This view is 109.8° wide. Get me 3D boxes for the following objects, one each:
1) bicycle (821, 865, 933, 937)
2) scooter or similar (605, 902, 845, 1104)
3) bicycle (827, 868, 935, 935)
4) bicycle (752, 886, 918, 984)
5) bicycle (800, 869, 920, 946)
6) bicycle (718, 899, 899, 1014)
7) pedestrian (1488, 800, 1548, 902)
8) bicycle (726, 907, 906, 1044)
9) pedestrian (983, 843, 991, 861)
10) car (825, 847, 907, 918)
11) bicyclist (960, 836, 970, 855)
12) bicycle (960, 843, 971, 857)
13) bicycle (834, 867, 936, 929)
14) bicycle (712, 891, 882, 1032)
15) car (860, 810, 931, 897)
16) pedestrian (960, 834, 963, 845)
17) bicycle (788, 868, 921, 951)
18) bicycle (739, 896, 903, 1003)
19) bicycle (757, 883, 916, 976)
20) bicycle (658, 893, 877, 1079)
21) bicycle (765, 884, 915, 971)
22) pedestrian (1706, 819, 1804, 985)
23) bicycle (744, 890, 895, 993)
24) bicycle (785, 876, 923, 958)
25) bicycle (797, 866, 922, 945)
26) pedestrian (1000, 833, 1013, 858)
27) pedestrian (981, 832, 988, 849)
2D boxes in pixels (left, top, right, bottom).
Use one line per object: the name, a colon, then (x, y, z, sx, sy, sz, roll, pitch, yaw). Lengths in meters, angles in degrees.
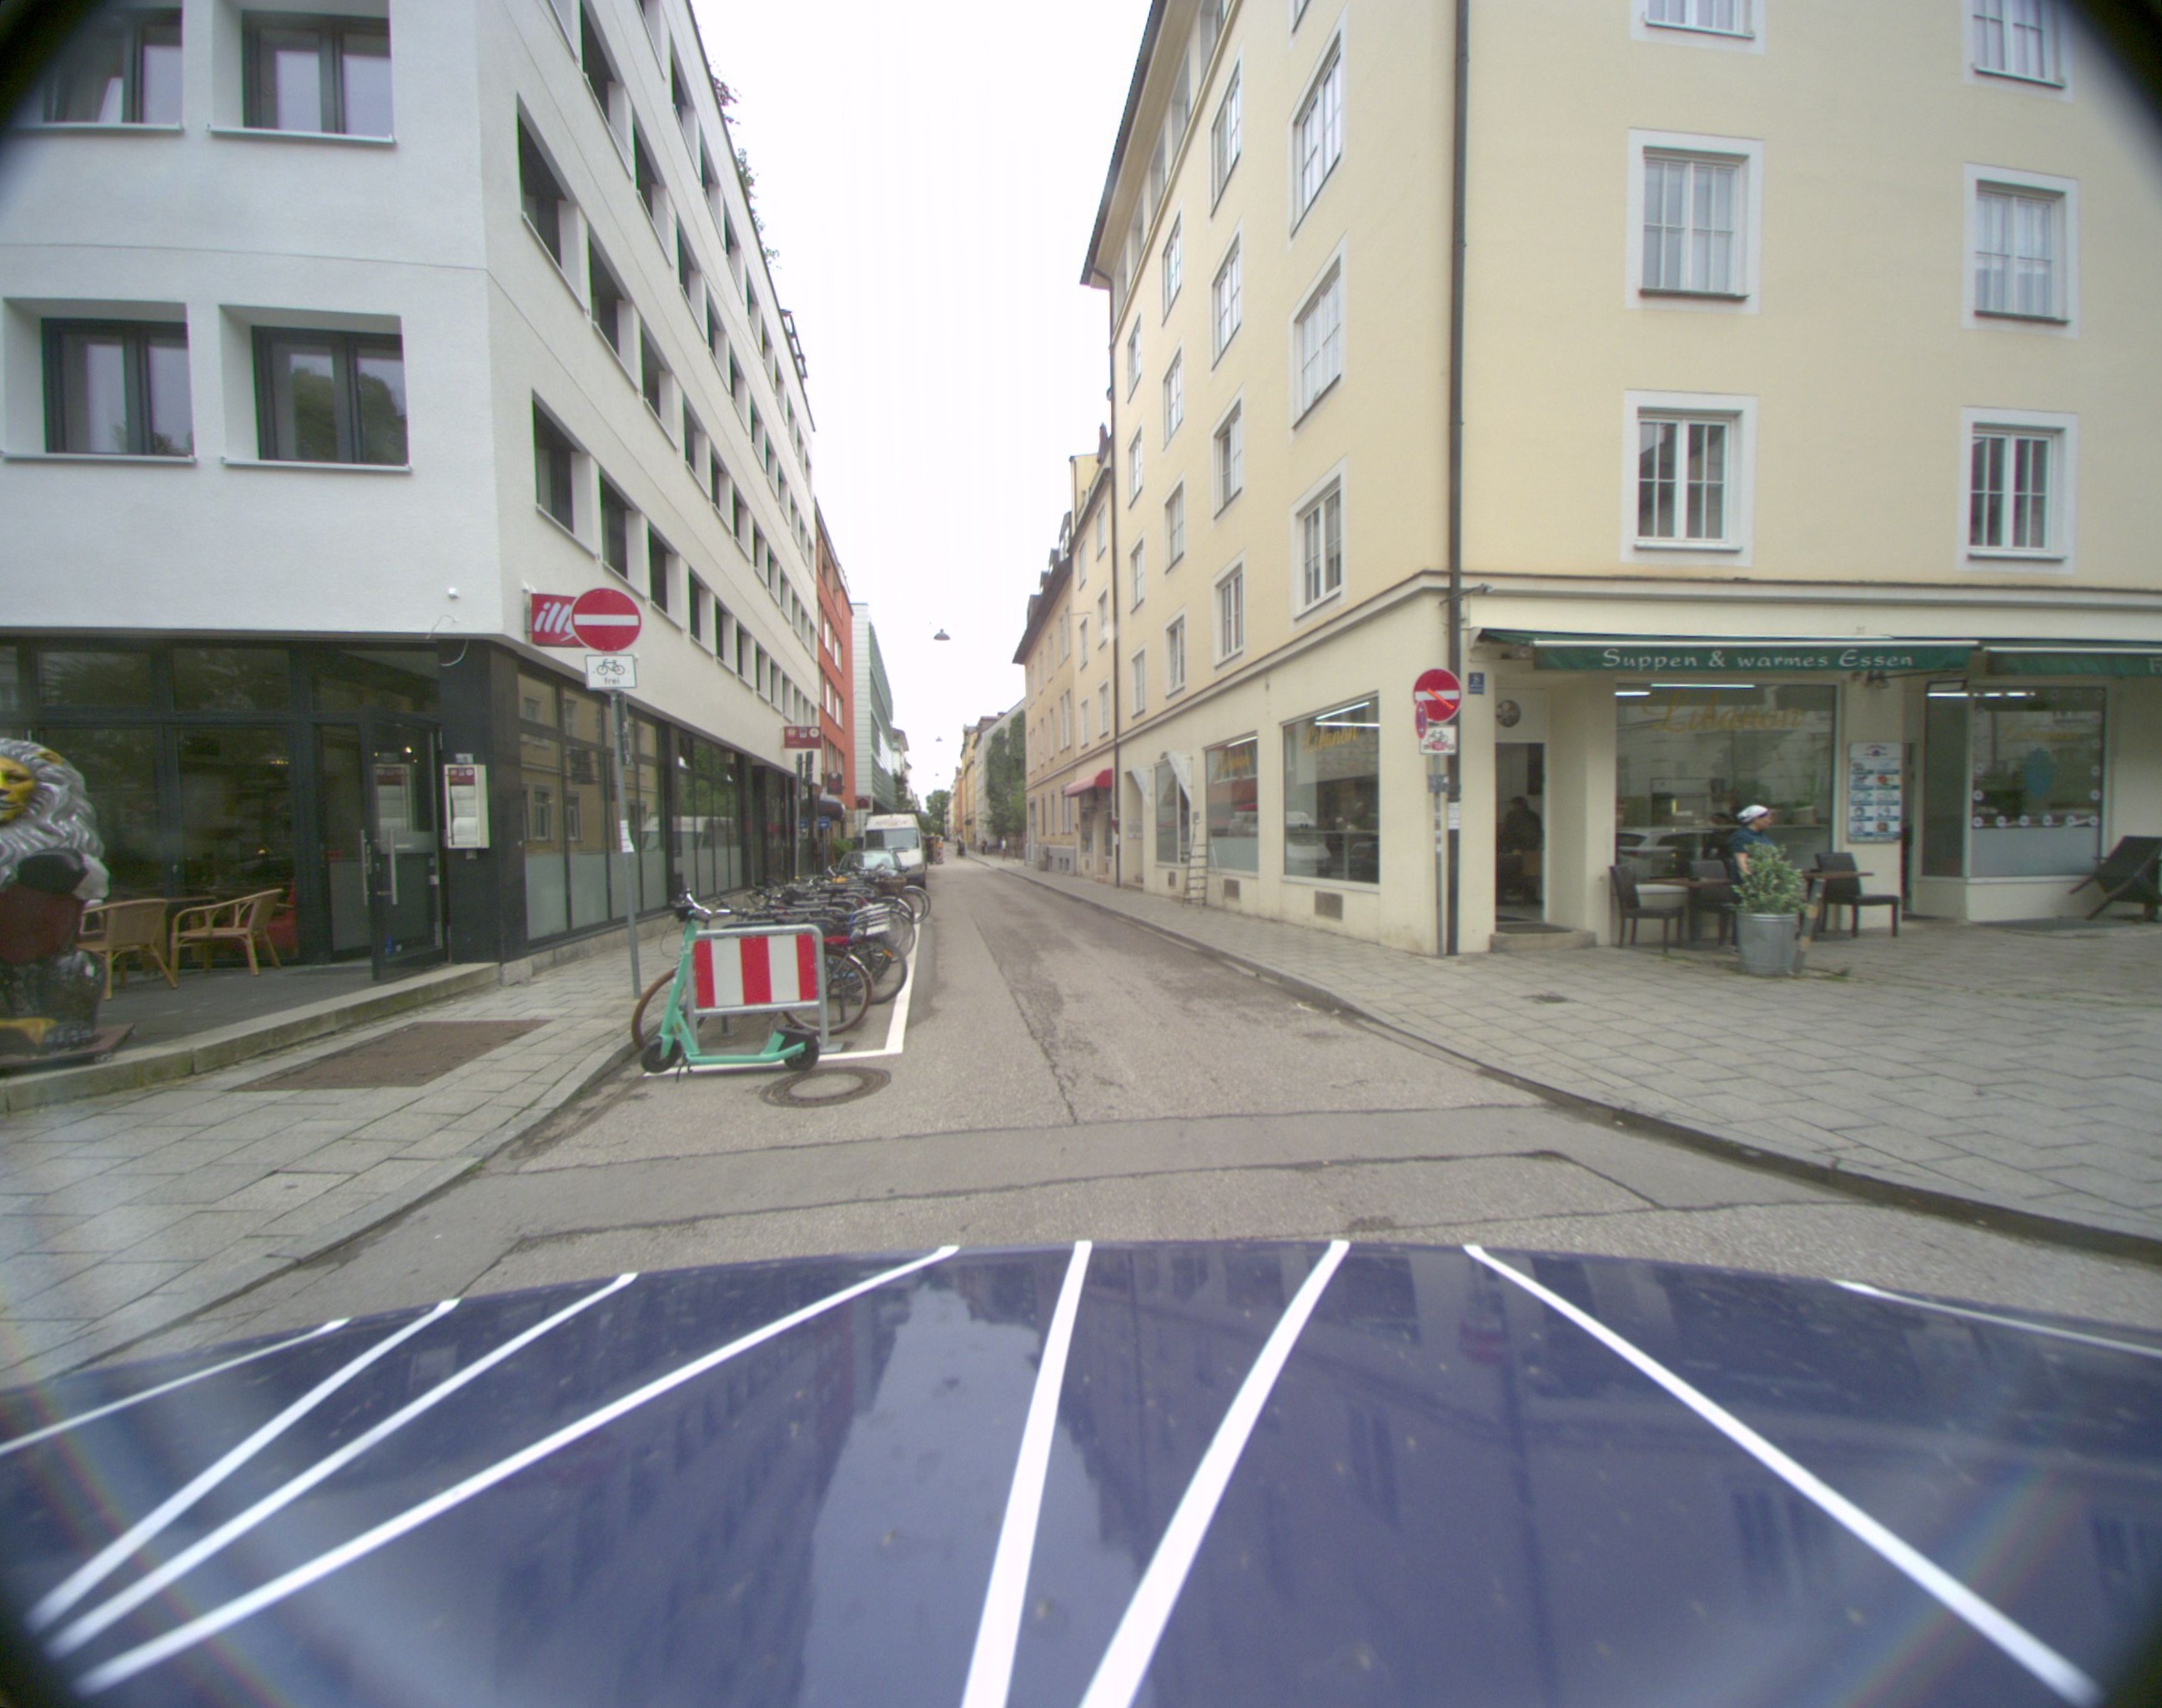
bicycle: (-3.647, 0.828, 13.699, 1.880, 1.197, 0.488, -1, 1, -13)
scooter or similar: (-2.337, 0.961, 5.099, 1.357, 1.203, 0.417, -1, 2, -9)
bicycle: (-3.715, 0.869, 14.217, 1.880, 1.102, 0.488, -3, 1, -13)
bicycle: (-2.981, 0.966, 9.330, 1.880, 1.073, 0.408, -1, 1, -14)
bicycle: (-3.742, 0.888, 12.990, 1.880, 1.150, 0.564, -3, 1, -13)
bicycle: (-2.857, 1.061, 8.097, 1.746, 1.073, 0.451, -1, 1, -14)
pedestrian: (7.576, -0.067, 13.213, 0.757, 1.715, 0.770, 1, 3, 22)
bicycle: (-2.382, 1.072, 6.930, 1.457, 1.063, 0.462, -2, 2, -18)
pedestrian: (-9.844, -0.255, 79.379, 0.778, 1.826, 0.990, -1, 2, -11)
car: (-5.083, 0.596, 18.343, 1.586, 1.456, 3.547, -1, 2, -11)
bicyclist: (-10.963, -0.808, 71.966, 0.929, 1.711, 1.098, 0, 2, -11)
bicycle: (-11.043, -0.417, 72.391, 0.935, 1.250, 2.410, 0, 2, -11)
bicycle: (-3.886, 0.854, 15.142, 1.880, 1.074, 0.488, -4, 1, -13)
bicycle: (-2.702, 1.001, 7.327, 1.457, 1.201, 0.394, -2, 2, -18)
car: (-6.080, -0.076, 25.420, 1.927, 2.492, 5.989, -3, 2, -11)
pedestrian: (-20.694, -2.530, 131.910, 0.493, 1.814, 0.552, -1, 2, -11)
bicycle: (-3.436, 0.824, 11.663, 1.900, 1.163, 0.565, -1, 2, -13)
bicycle: (-2.878, 1.048, 8.514, 1.680, 1.073, 0.335, -1, 1, -14)
bicycle: (-3.098, 0.946, 9.754, 1.880, 1.073, 0.402, -1, 1, -14)
bicycle: (-2.383, 0.987, 5.902, 1.461, 1.278, 0.445, -2, 2, -9)
bicycle: (-3.265, 0.985, 10.434, 1.880, 1.046, 0.563, -1, 3, -14)
pedestrian: (6.954, 0.466, 7.852, 0.606, 1.633, 0.537, -2, 2, -23)
bicycle: (-3.017, 0.999, 8.877, 1.618, 1.073, 0.377, -1, 1, -14)
bicycle: (-3.299, 0.897, 11.139, 1.880, 1.089, 0.439, -1, 1, -14)
bicycle: (-3.542, 0.805, 12.281, 1.880, 1.197, 0.579, 0, 2, -13)
pedestrian: (-5.532, -0.634, 56.264, 0.861, 1.834, 0.973, -2, 2, -9)
pedestrian: (-9.681, -1.363, 76.254, 0.554, 1.650, 0.996, -1, 2, -11)
